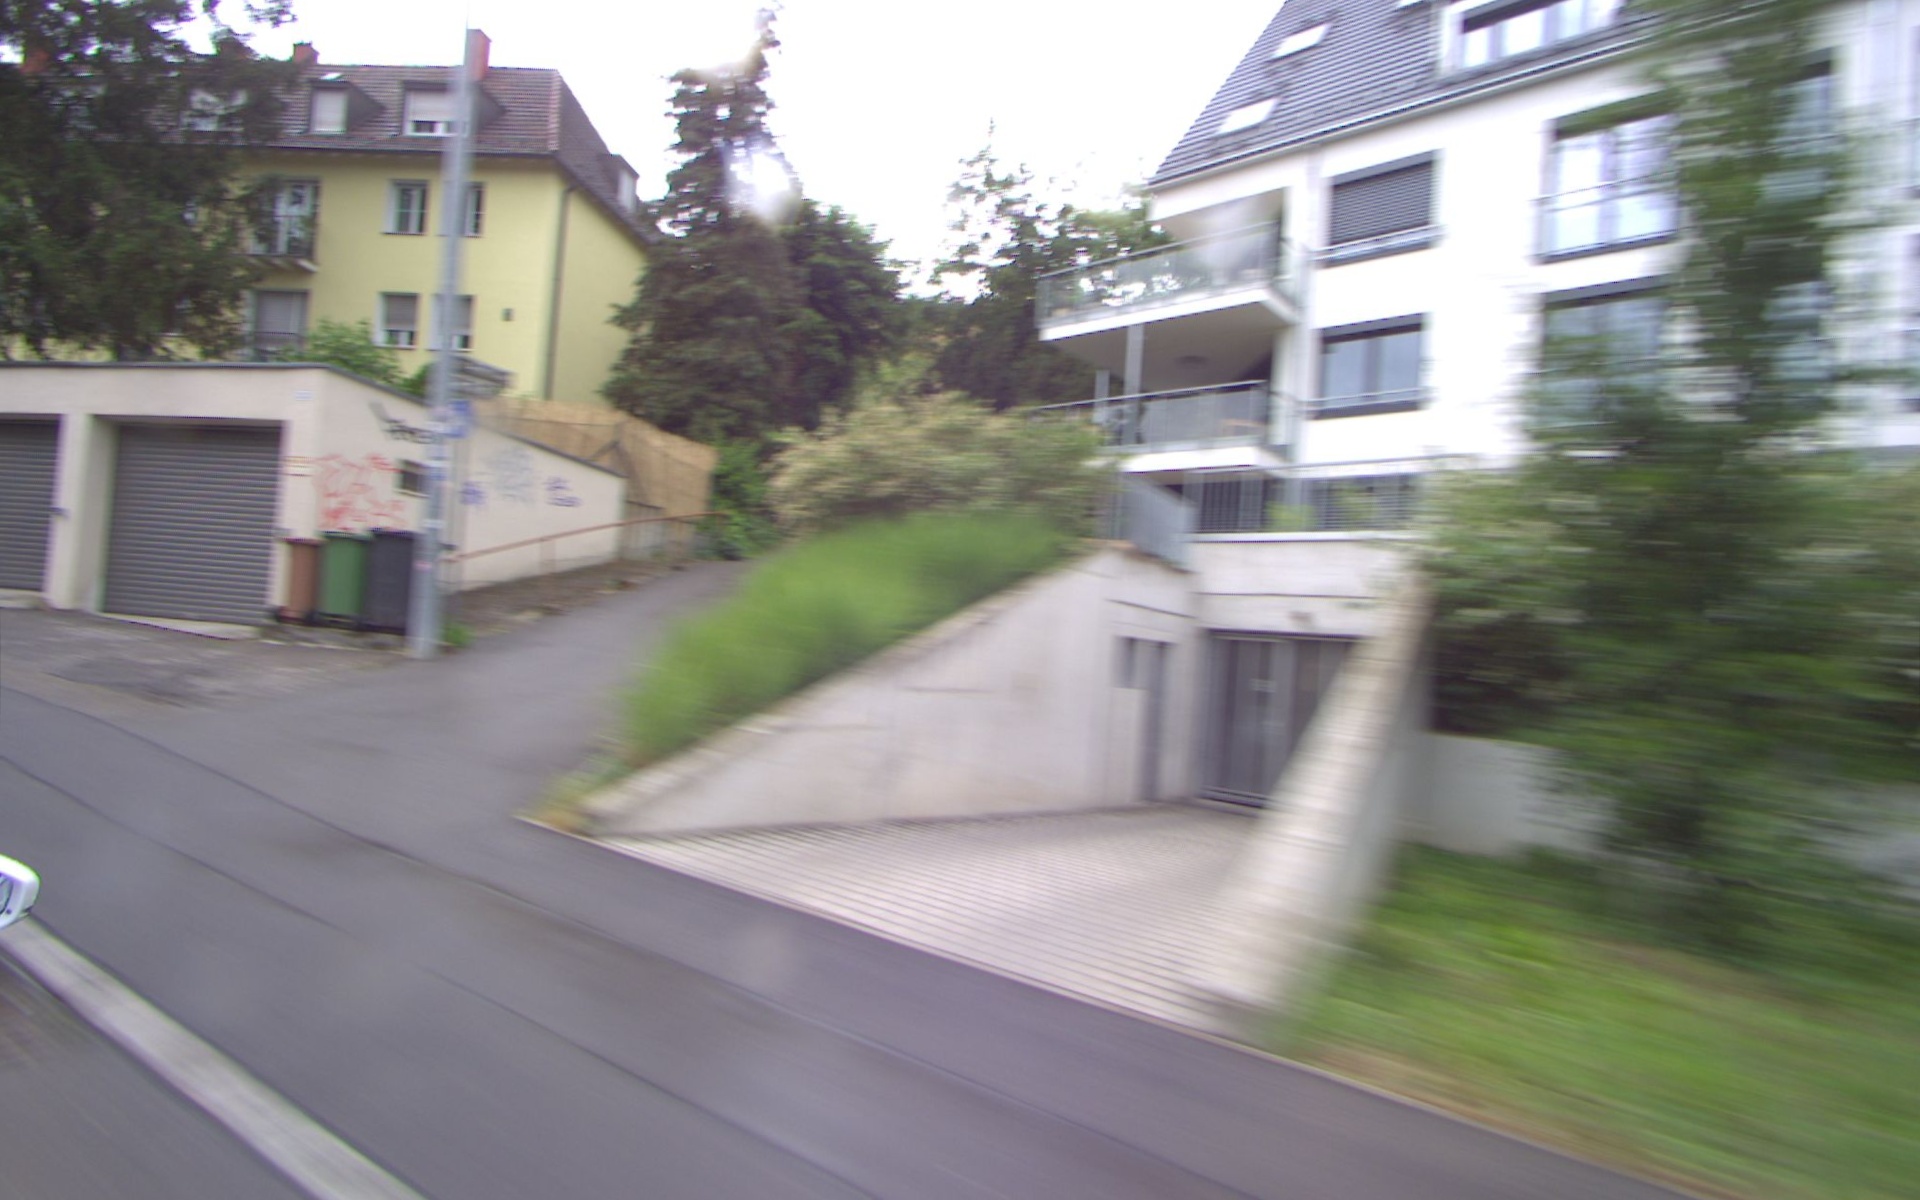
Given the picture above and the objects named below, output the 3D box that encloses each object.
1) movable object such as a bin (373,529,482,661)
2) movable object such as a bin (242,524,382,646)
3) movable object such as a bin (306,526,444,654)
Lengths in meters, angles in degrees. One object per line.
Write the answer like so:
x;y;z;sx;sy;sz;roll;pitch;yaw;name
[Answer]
-5.422;-0.044;10.262;0.570;1.239;0.704;7;1;12;movable object such as a bin
-6.813;-0.145;10.610;0.784;1.157;0.862;7;1;12;movable object such as a bin
-6.069;-0.093;10.473;0.772;1.201;0.862;7;1;12;movable object such as a bin
